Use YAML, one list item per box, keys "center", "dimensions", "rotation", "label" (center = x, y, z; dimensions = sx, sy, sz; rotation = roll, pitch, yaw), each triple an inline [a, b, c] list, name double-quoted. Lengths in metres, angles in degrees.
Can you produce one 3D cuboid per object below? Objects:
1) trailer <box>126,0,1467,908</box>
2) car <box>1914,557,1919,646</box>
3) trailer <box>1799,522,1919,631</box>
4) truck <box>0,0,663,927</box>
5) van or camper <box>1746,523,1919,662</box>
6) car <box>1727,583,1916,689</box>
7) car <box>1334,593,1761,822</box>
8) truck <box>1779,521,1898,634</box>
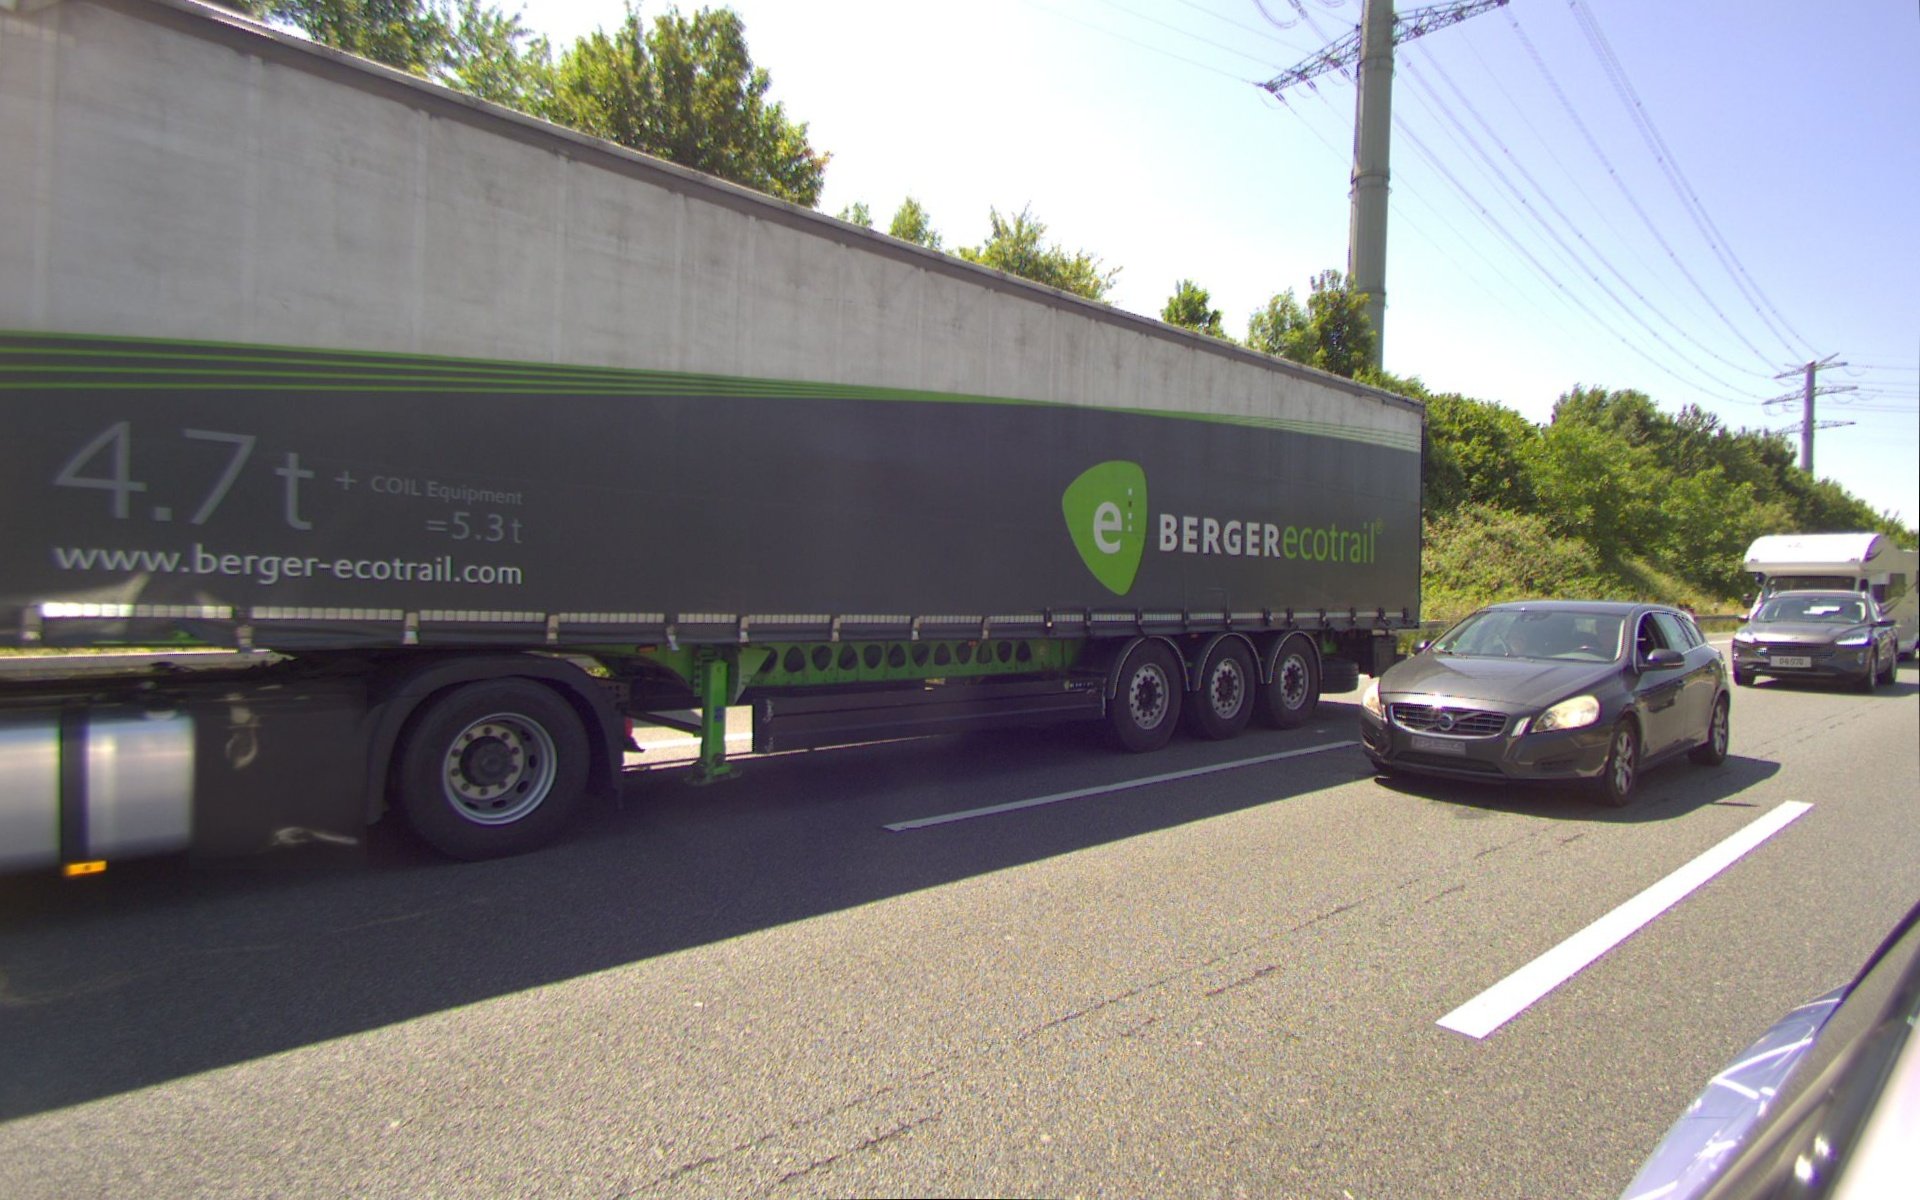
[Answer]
- center: [0.551, -0.836, 9.478]
  dimensions: [12.882, 4.098, 2.788]
  rotation: [-1, 0, -41]
  label: "trailer"
- center: [33.077, 0.021, 33.105]
  dimensions: [6.588, 2.753, 2.041]
  rotation: [-1, 0, -41]
  label: "car"
- center: [40.517, -0.977, 45.084]
  dimensions: [12.653, 4.317, 2.772]
  rotation: [-1, 0, -41]
  label: "trailer"
- center: [-4.719, -0.780, 4.914]
  dimensions: [5.692, 4.098, 2.738]
  rotation: [0, 0, -41]
  label: "truck"
- center: [22.675, -0.197, 25.460]
  dimensions: [7.486, 3.082, 2.377]
  rotation: [-1, 0, -34]
  label: "van or camper"
- center: [15.048, 0.535, 17.602]
  dimensions: [4.146, 1.631, 1.892]
  rotation: [-1, 0, -41]
  label: "car"
- center: [5.152, 0.675, 8.599]
  dimensions: [4.431, 1.437, 1.798]
  rotation: [-1, 0, -41]
  label: "car"
- center: [35.222, -0.871, 40.522]
  dimensions: [5.538, 4.197, 2.790]
  rotation: [0, 0, -41]
  label: "truck"
